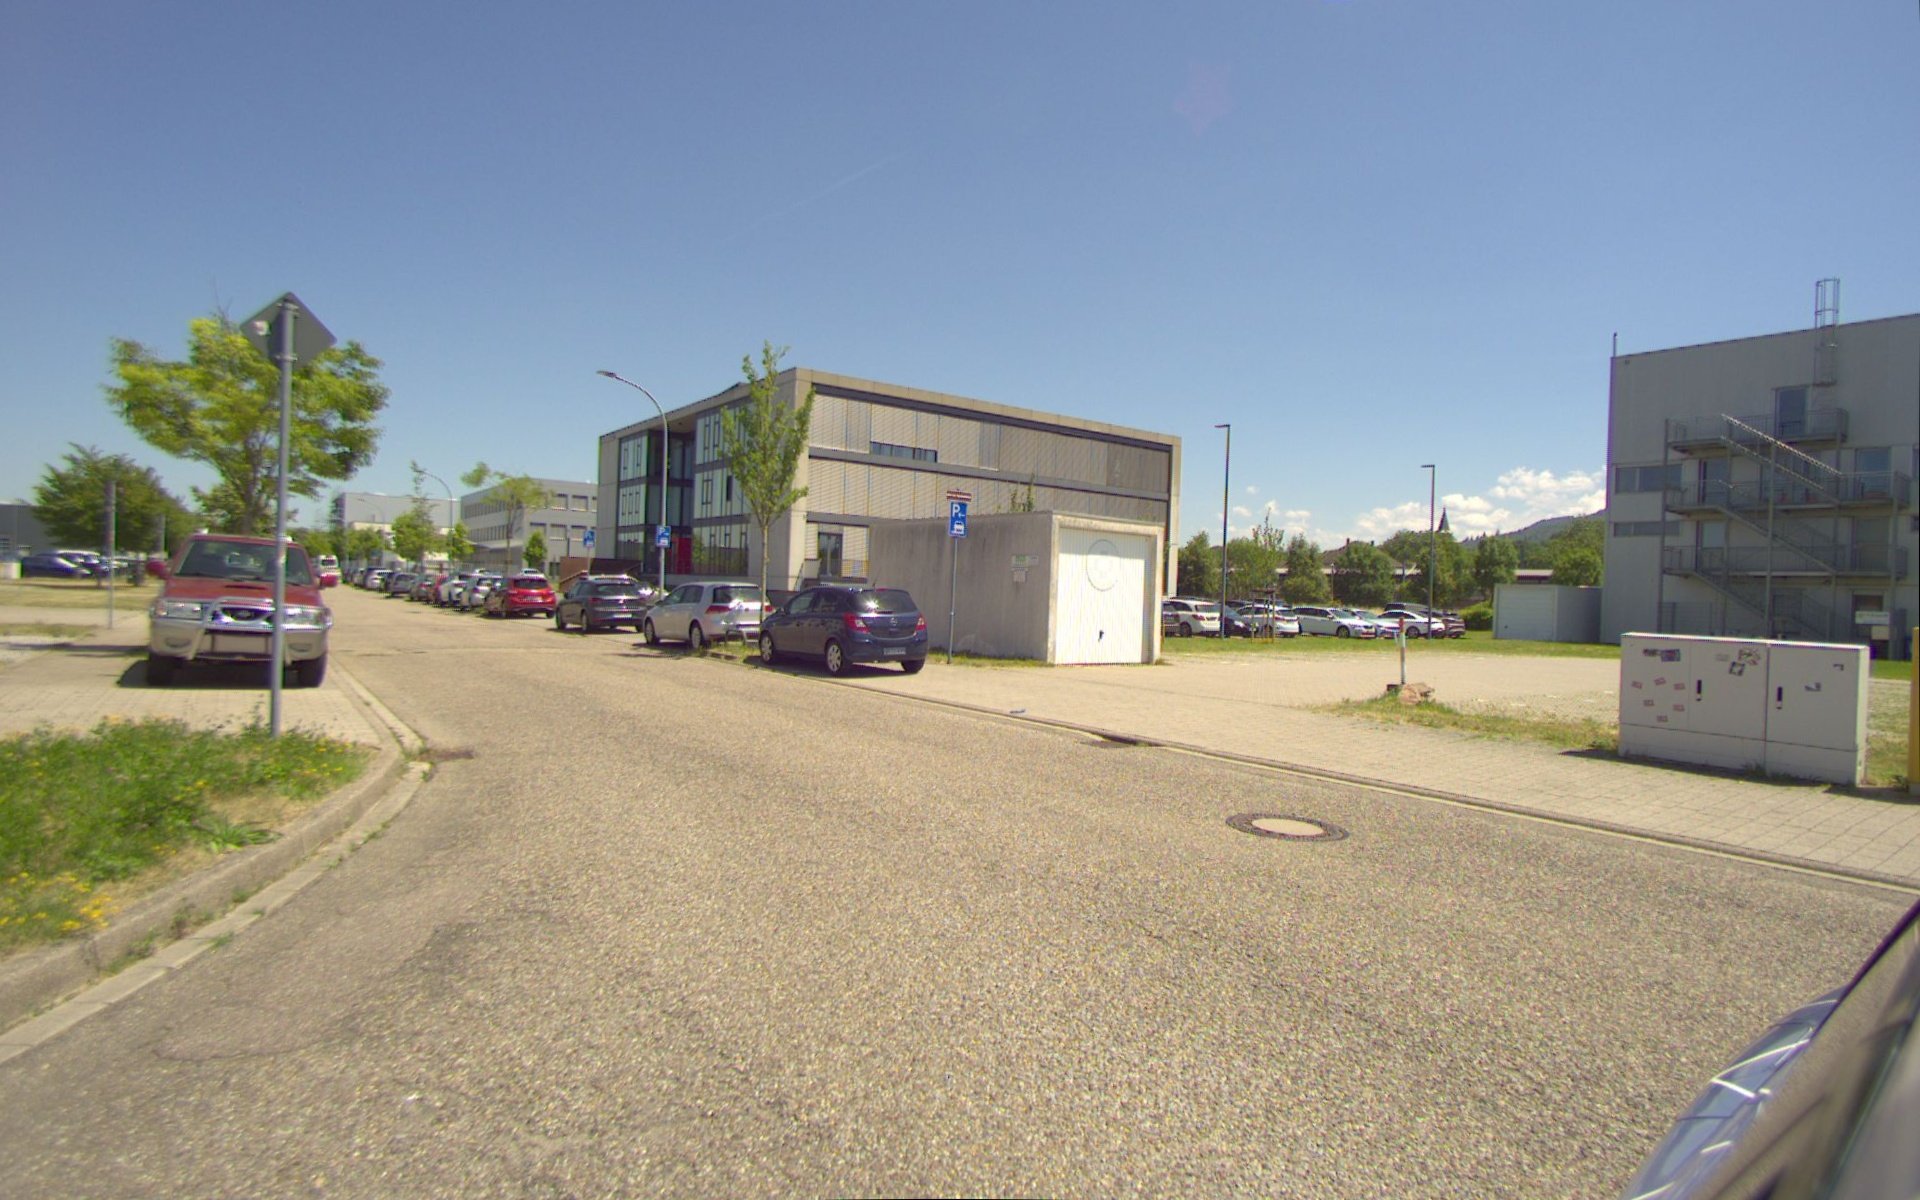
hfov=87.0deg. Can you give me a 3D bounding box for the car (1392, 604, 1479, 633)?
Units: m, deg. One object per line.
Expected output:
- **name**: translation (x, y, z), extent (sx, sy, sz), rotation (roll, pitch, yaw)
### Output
- **car**: translation (26.093, 1.004, 55.668), extent (1.628, 1.404, 4.056), rotation (1, 1, -36)

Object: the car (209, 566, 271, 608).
- **car**: translation (-27.092, -0.509, 38.043), extent (1.755, 1.460, 3.706), rotation (2, 1, -38)

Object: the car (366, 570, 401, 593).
- **car**: translation (-39.083, -1.302, 68.553), extent (1.628, 1.487, 3.628), rotation (-1, 2, -36)

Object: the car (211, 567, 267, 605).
- **car**: translation (-30.451, -0.599, 42.687), extent (1.755, 1.460, 3.706), rotation (2, 1, -38)

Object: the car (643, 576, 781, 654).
- **car**: translation (-5.512, 0.249, 22.230), extent (1.629, 1.519, 3.626), rotation (-1, 2, -38)

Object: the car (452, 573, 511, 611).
- **car**: translation (-20.175, -0.377, 42.609), extent (1.628, 1.487, 3.628), rotation (-1, 2, -36)

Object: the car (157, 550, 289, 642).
- **car**: translation (-13.854, -0.117, 18.984), extent (1.755, 1.460, 3.706), rotation (5, -1, -38)

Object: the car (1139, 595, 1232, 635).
- **car**: translation (9.427, 0.610, 42.538), extent (1.628, 1.519, 3.628), rotation (1, 1, -36)

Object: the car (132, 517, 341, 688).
- **car**: translation (-9.059, 0.037, 12.886), extent (1.775, 1.798, 4.002), rotation (4, -1, -33)

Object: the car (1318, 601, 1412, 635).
- **car**: translation (19.984, 0.842, 50.023), extent (1.628, 1.485, 4.056), rotation (1, 1, -36)

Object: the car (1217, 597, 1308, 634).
- **car**: translation (13.555, 0.673, 45.504), extent (1.628, 1.519, 3.628), rotation (1, 1, -36)

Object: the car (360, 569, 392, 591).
- **car**: translation (-42.037, -1.475, 72.792), extent (1.628, 1.487, 3.628), rotation (-1, 2, -36)

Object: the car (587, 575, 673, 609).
- **car**: translation (-15.213, -0.411, 46.851), extent (1.646, 1.487, 3.588), rotation (1, 2, 32)

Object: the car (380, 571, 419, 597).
- **car**: translation (-33.727, -0.980, 60.845), extent (1.628, 1.487, 3.628), rotation (-1, 2, -36)

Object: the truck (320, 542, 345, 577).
- **truck**: translation (-68.733, -4.419, 110.770), extent (1.769, 3.632, 7.433), rotation (2, 1, -36)

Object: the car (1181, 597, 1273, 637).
- **car**: translation (11.489, 0.709, 43.690), extent (1.628, 1.554, 3.628), rotation (1, 1, -36)

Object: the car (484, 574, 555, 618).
- **car**: translation (-16.047, -0.193, 36.781), extent (1.628, 1.487, 3.628), rotation (-1, 2, -36)

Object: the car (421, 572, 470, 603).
- **car**: translation (-25.988, -0.658, 51.082), extent (1.628, 1.487, 3.628), rotation (-1, 2, -36)

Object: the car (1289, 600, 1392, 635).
- **car**: translation (18.184, 0.798, 48.537), extent (1.677, 1.485, 4.371), rotation (1, 1, -36)

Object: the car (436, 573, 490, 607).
- **car**: translation (-22.876, -0.492, 46.517), extent (1.628, 1.487, 3.628), rotation (-1, 2, -36)

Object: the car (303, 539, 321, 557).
- **car**: translation (-82.555, -6.615, 128.992), extent (1.863, 2.039, 4.002), rotation (2, 1, -33)

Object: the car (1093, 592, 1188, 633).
- **car**: translation (7.276, 0.488, 41.023), extent (1.628, 1.519, 3.628), rotation (1, 1, -36)

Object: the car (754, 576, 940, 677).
- **car**: translation (-2.065, 0.370, 17.651), extent (1.652, 1.519, 3.628), rotation (-1, 2, -36)

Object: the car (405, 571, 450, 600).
- **car**: translation (-28.978, -0.804, 55.033), extent (1.628, 1.487, 3.628), rotation (-1, 2, -36)

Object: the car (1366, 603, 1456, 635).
- **car**: translation (23.682, 0.974, 53.232), extent (1.628, 1.443, 4.056), rotation (1, 1, -36)

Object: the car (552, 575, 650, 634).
- **car**: translation (-10.127, 0.067, 28.406), extent (1.628, 1.487, 3.628), rotation (-1, 2, -36)

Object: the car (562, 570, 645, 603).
- **car**: translation (-17.273, -0.692, 49.178), extent (1.646, 1.487, 3.588), rotation (1, 2, 32)
